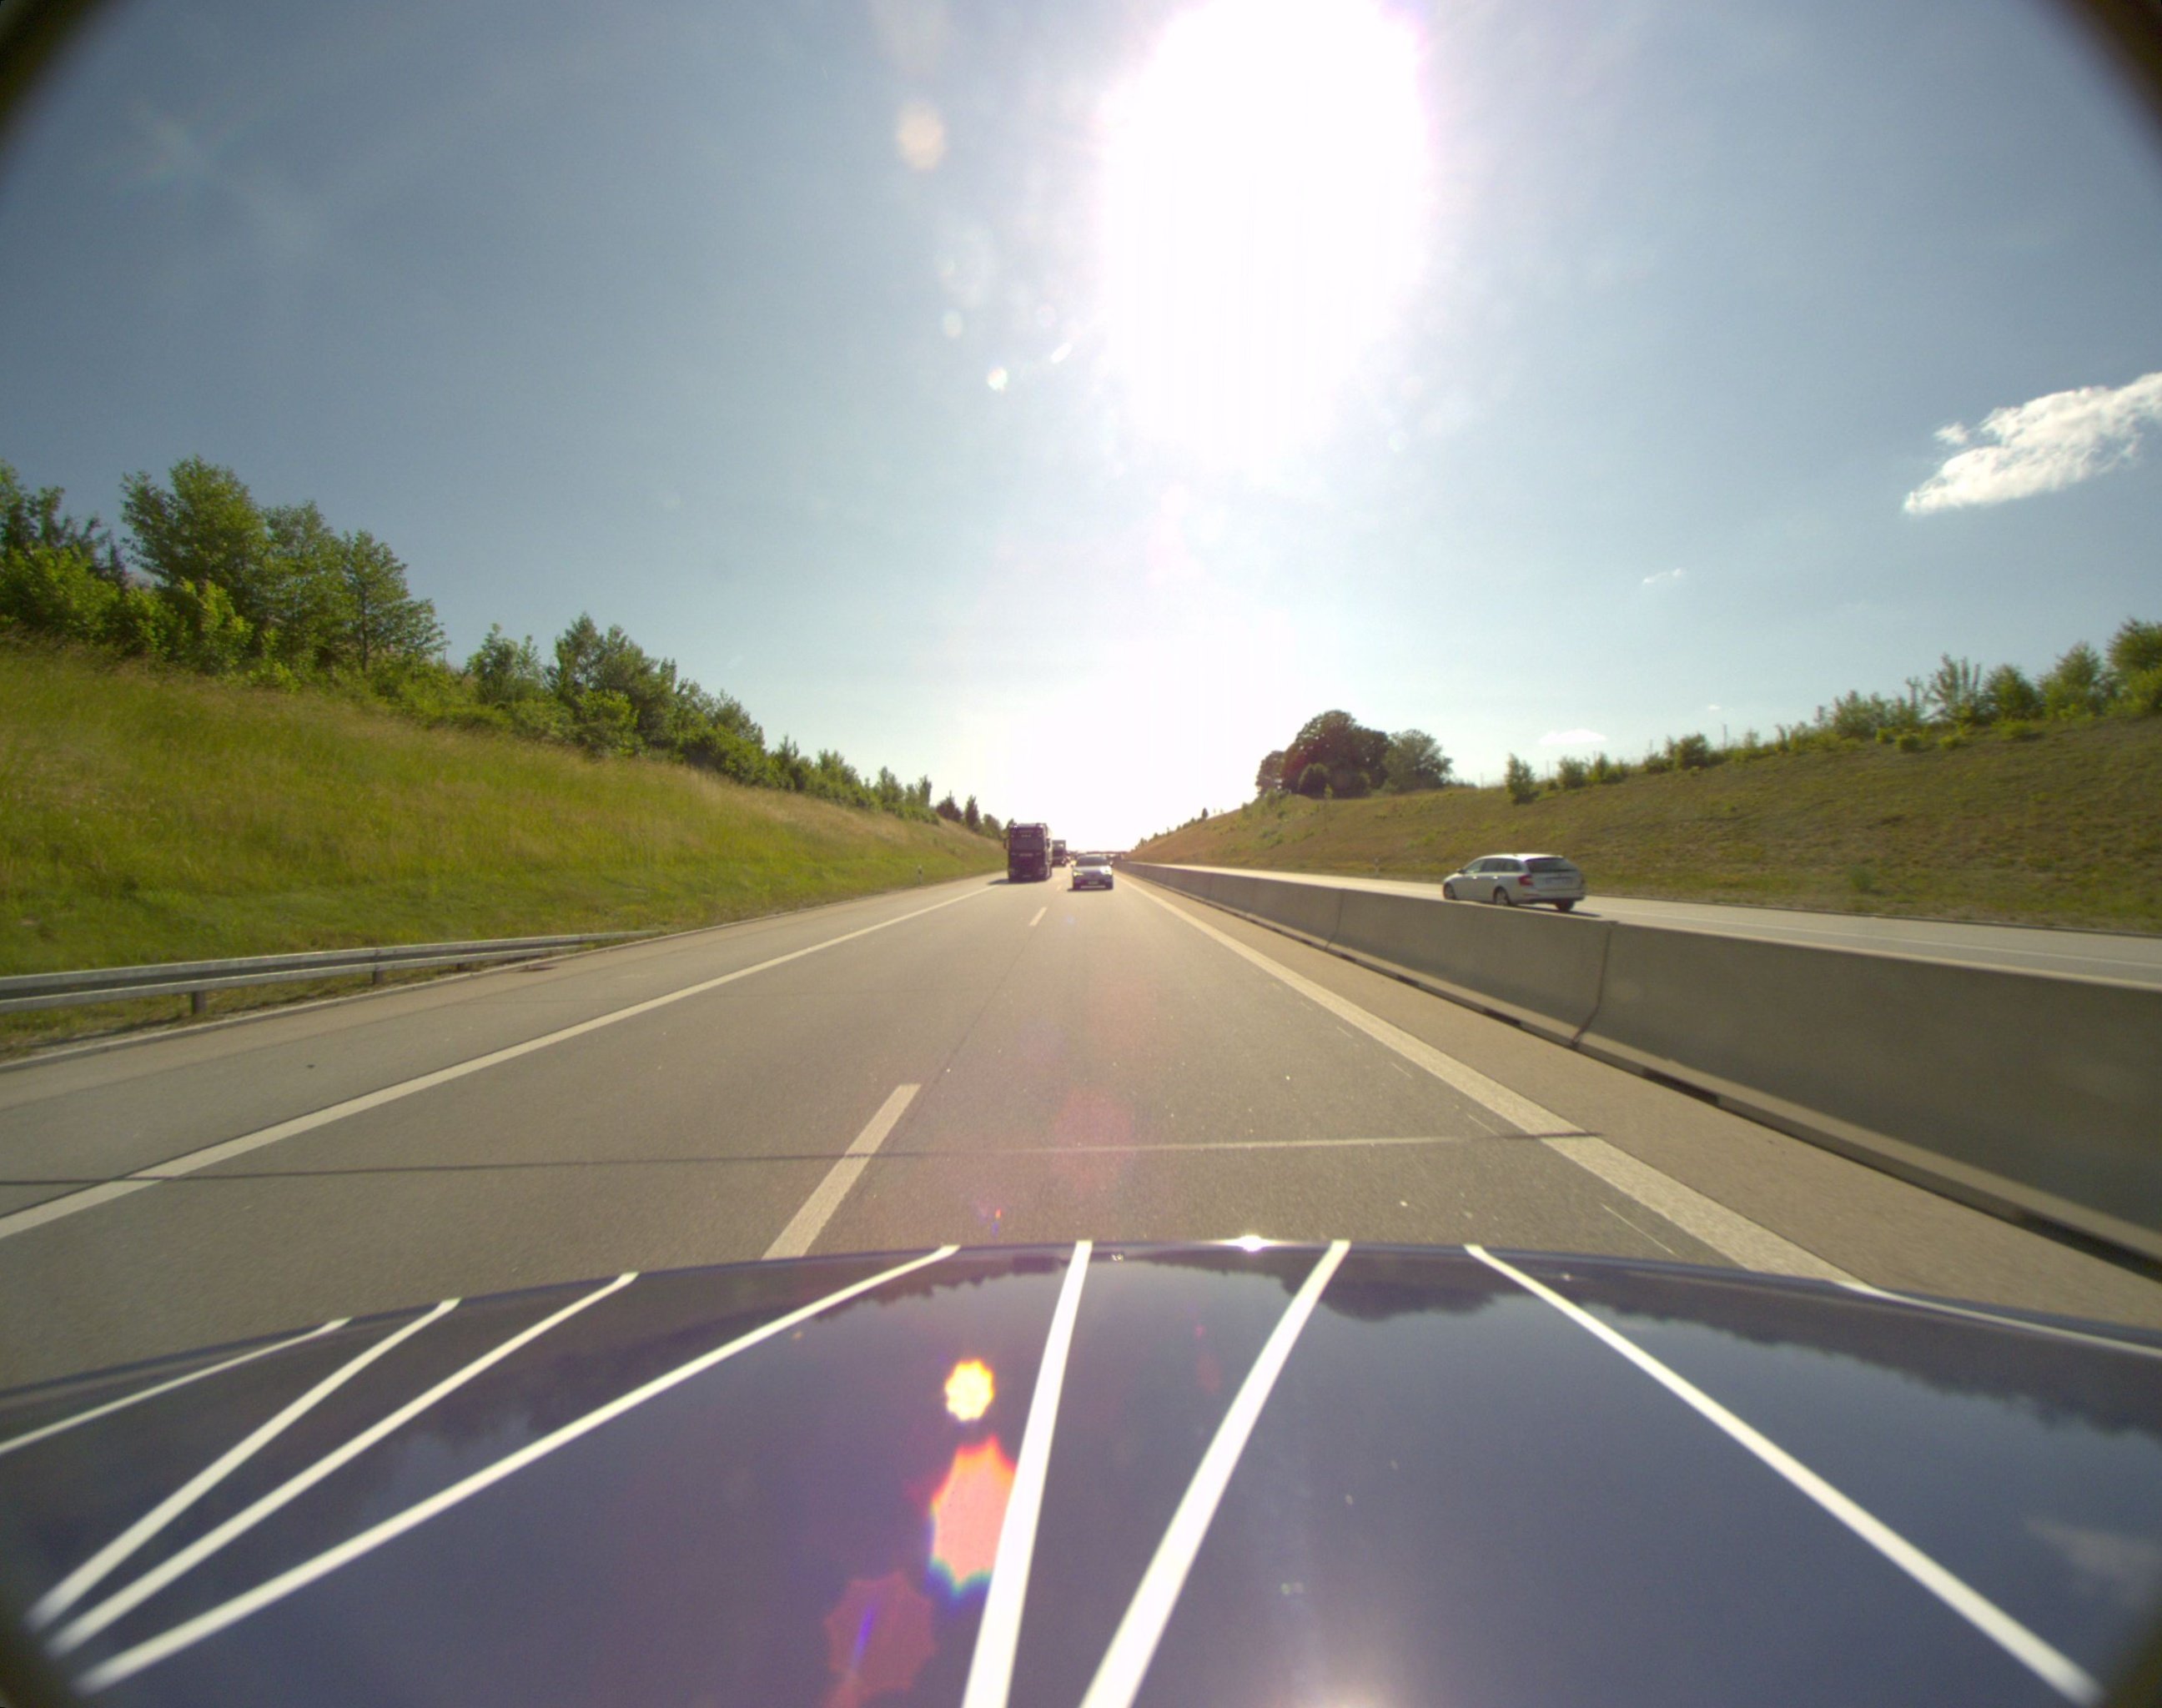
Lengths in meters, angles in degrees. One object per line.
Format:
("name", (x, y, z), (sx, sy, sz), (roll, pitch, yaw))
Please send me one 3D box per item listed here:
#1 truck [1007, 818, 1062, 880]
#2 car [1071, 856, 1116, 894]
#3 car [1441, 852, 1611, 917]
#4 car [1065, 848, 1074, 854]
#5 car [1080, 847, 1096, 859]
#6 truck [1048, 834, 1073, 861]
("truck", (-3.087, -0.335, 54.445), (2.623, 3.795, 13.404), (-1, 0, 2))
("car", (0.609, 0.861, 32.947), (1.795, 1.501, 3.636), (-1, 0, 3))
("car", (11.373, 0.705, 19.850), (1.808, 1.462, 4.527), (-1, 0, 1))
("car", (-2.519, -0.655, 167.890), (1.708, 1.433, 3.633), (1, 0, -4))
("car", (1.225, -0.173, 135.811), (2.816, 2.143, 5.946), (1, 0, 0))
("truck", (-2.967, -0.947, 115.033), (3.024, 3.795, 13.404), (1, 0, 2))
